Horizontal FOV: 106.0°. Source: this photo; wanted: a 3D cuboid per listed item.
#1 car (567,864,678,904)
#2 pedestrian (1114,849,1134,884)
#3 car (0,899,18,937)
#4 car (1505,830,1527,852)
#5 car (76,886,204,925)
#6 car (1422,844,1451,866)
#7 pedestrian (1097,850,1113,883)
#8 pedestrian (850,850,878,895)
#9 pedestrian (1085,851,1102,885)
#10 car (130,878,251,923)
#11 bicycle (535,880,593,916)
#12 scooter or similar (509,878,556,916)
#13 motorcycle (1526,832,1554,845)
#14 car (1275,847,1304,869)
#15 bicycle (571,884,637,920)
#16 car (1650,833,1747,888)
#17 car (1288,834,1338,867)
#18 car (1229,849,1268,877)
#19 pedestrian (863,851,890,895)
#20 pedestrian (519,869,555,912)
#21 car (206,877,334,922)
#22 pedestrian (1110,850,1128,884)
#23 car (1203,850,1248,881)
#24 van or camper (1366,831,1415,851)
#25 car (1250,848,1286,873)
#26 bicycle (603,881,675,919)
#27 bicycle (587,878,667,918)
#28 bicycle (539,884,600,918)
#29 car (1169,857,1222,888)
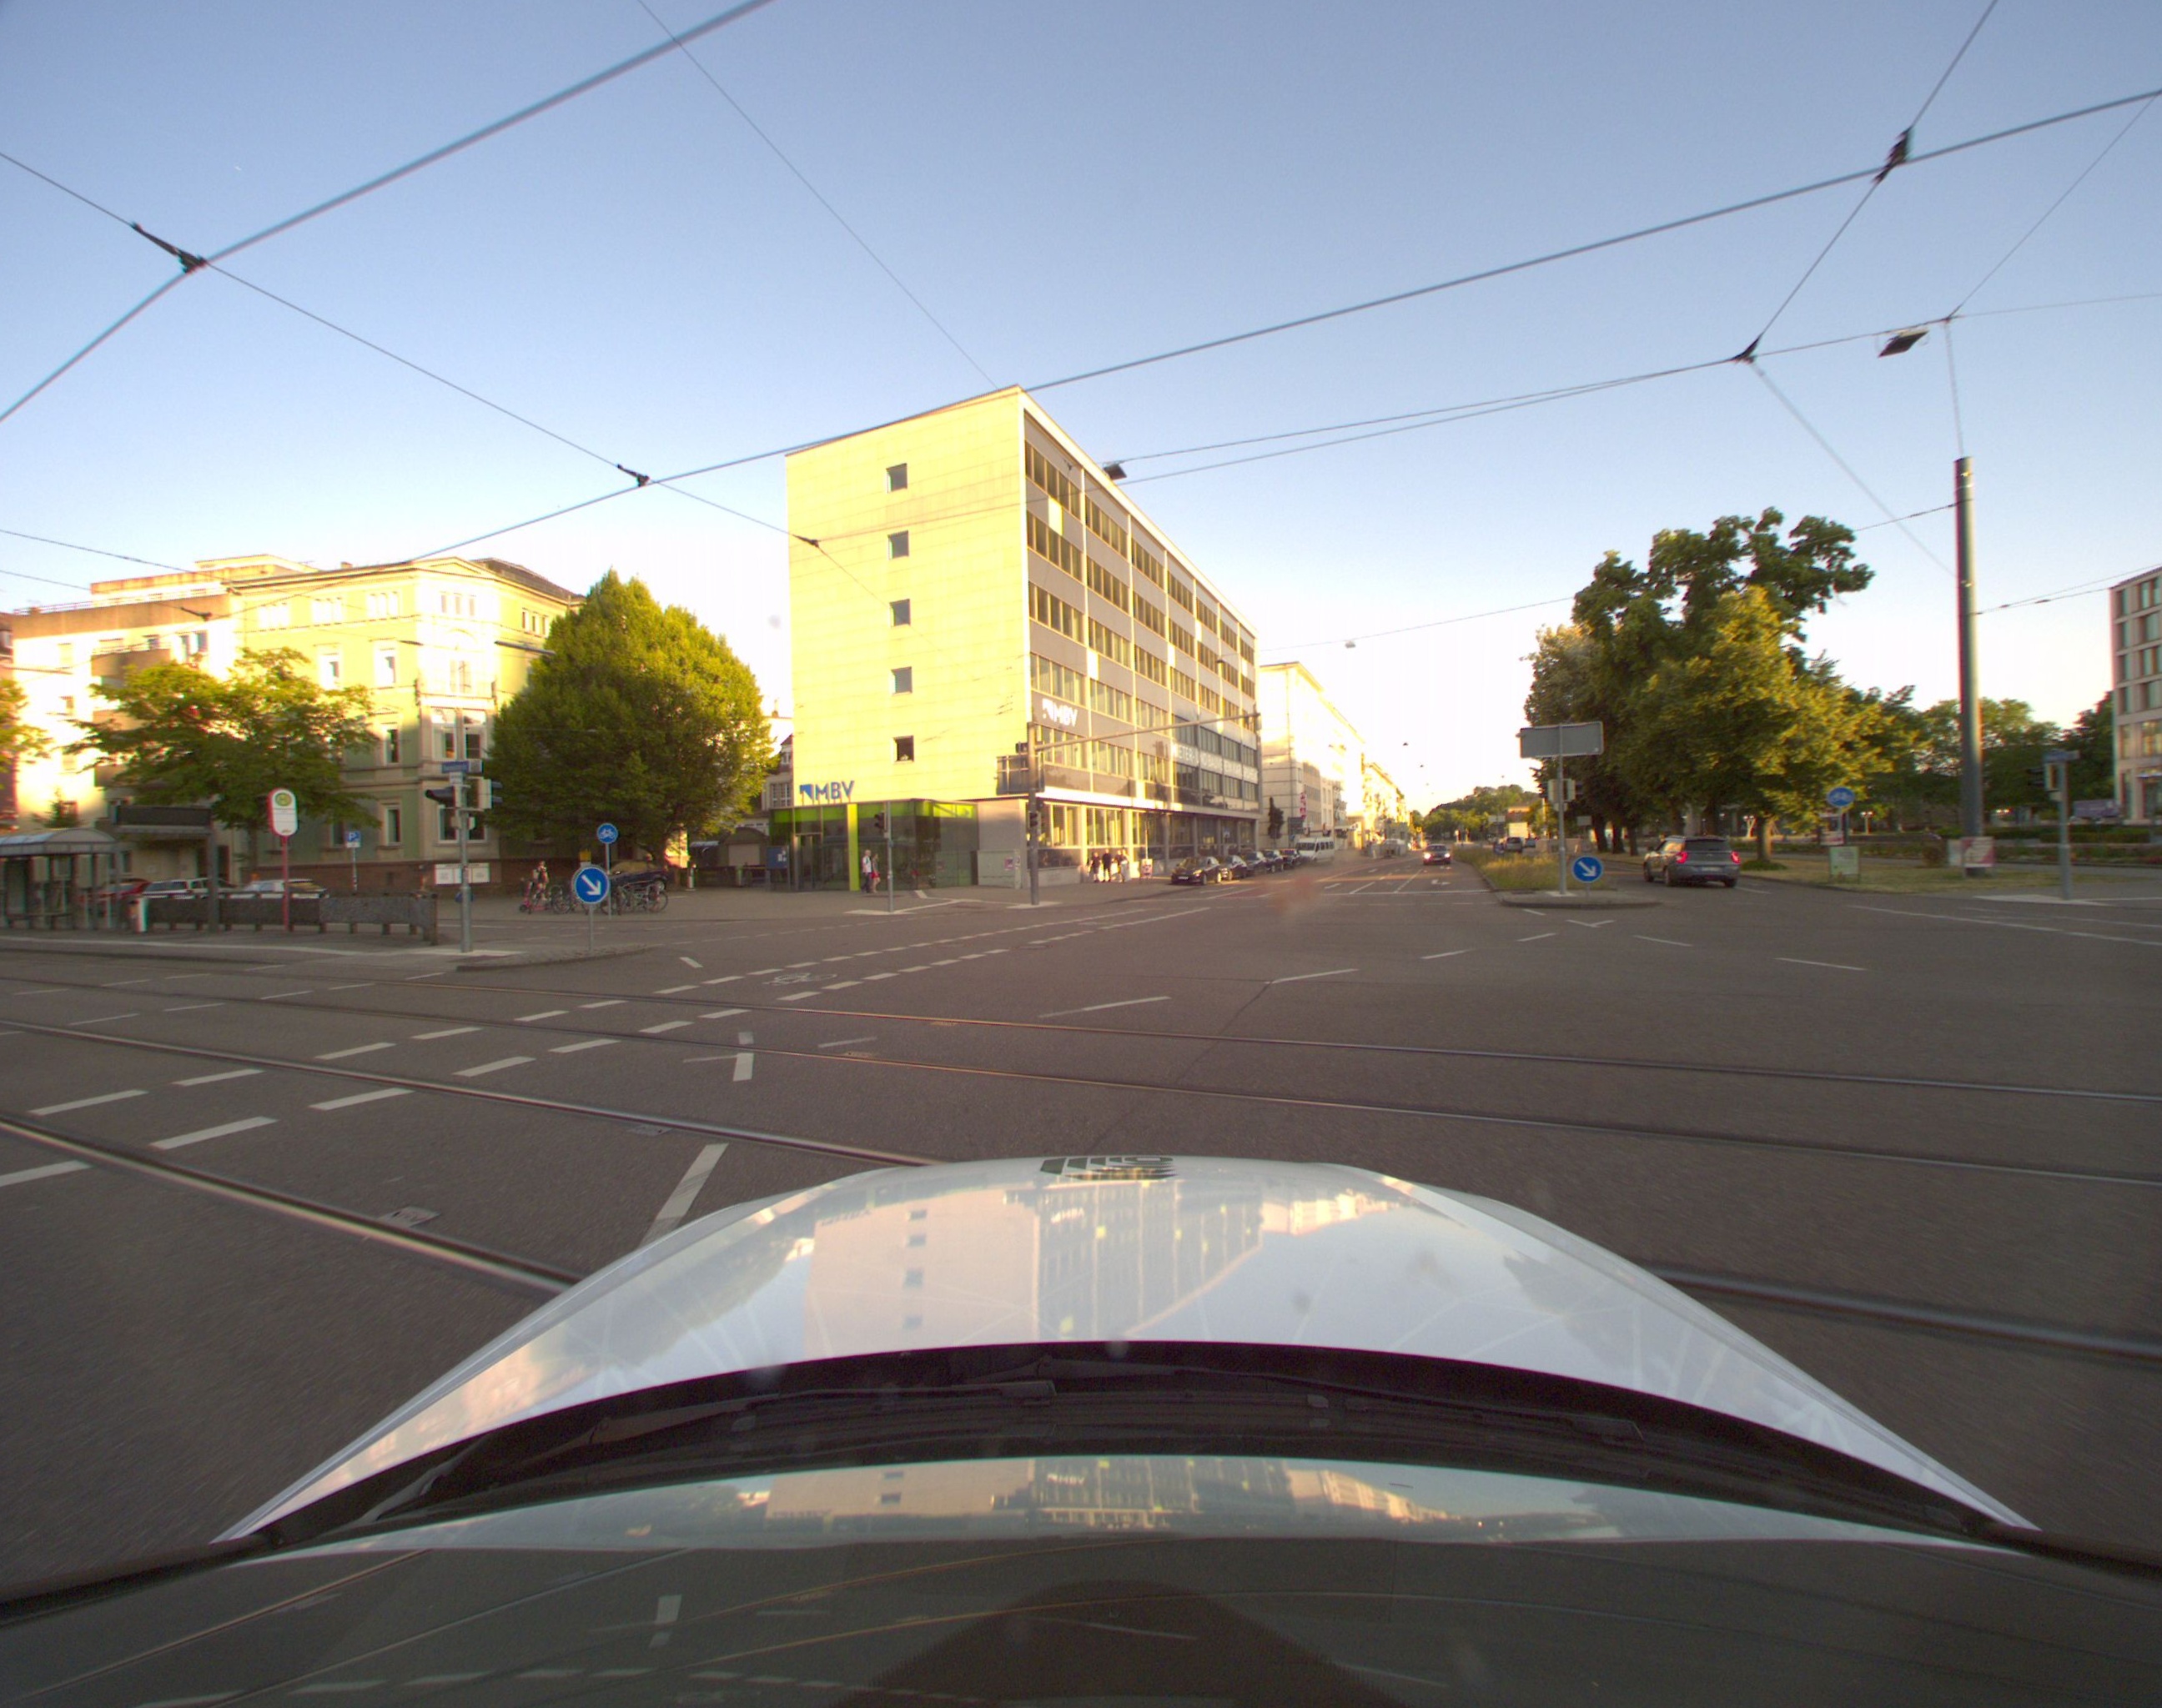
[{"bbox_3d":[-20.421,1.309,36.472,1.781,1.574,4.020,-1,0,24],"label":"car"},{"bbox_3d":[2.272,0.662,43.016,0.833,1.768,0.790,-2,0,21],"label":"pedestrian"},{"bbox_3d":[-50.262,2.978,36.415,4.045,1.631,1.756,-2,2,14],"label":"car"},{"bbox_3d":[45.243,-1.347,84.735,1.866,2.238,3.934,-2,0,26],"label":"car"},{"bbox_3d":[-40.973,2.197,35.607,1.644,1.454,4.185,-2,0,-17],"label":"car"},{"bbox_3d":[25.591,0.079,58.626,1.677,1.420,4.198,-2,0,26],"label":"car"},{"bbox_3d":[1.322,0.695,44.241,0.647,1.768,0.649,-2,0,21],"label":"pedestrian"},{"bbox_3d":[-8.631,0.723,32.397,0.726,1.768,0.713,-2,0,25],"label":"pedestrian"},{"bbox_3d":[0.664,0.736,43.525,0.647,1.768,0.649,-2,0,21],"label":"pedestrian"},{"bbox_3d":[-38.283,1.947,35.177,1.722,1.725,4.182,0,-1,-19],"label":"car"},{"bbox_3d":[-18.168,1.539,28.630,0.735,1.162,1.540,-2,0,26],"label":"bicycle"},{"bbox_3d":[-19.551,1.535,29.062,0.583,1.225,1.211,-2,2,25],"label":"scooter or similar"},{"bbox_3d":[65.614,-2.166,116.462,3.454,1.755,0.931,-2,0,28],"label":"motorcycle"},{"bbox_3d":[16.315,0.282,63.607,1.485,1.664,3.890,2,2,24],"label":"car"},{"bbox_3d":[-15.876,1.582,27.155,0.735,1.074,1.771,-2,0,26],"label":"bicycle"},{"bbox_3d":[19.897,0.168,26.412,1.677,1.605,4.114,-1,0,25],"label":"car"},{"bbox_3d":[19.785,-0.341,69.284,2.216,2.628,5.891,3,2,35],"label":"car"},{"bbox_3d":[11.010,0.566,53.320,1.678,1.664,3.890,2,2,24],"label":"car"},{"bbox_3d":[-8.299,0.765,33.038,0.737,1.768,0.713,-2,0,25],"label":"pedestrian"},{"bbox_3d":[-23.036,1.542,34.479,0.980,1.768,0.710,-2,0,9],"label":"pedestrian"},{"bbox_3d":[-32.399,1.810,32.579,3.959,1.552,1.692,-2,3,13],"label":"car"},{"bbox_3d":[2.037,0.689,44.001,0.732,1.768,0.676,-2,0,21],"label":"pedestrian"},{"bbox_3d":[8.627,0.660,48.374,1.678,1.664,3.890,2,2,24],"label":"car"},{"bbox_3d":[40.695,-1.695,107.116,5.500,2.166,2.240,-3,-1,-5],"label":"van or camper"},{"bbox_3d":[13.360,0.438,58.098,1.678,1.664,3.890,2,2,24],"label":"car"},{"bbox_3d":[-14.240,1.460,26.263,0.734,1.074,1.877,-2,1,42],"label":"bicycle"},{"bbox_3d":[-15.011,1.440,27.021,0.735,1.132,2.251,-2,1,26],"label":"bicycle"},{"bbox_3d":[-17.443,1.593,27.800,0.735,1.074,1.565,-2,0,26],"label":"bicycle"},{"bbox_3d":[6.085,0.936,42.879,1.678,1.411,3.890,2,2,24],"label":"car"}]
